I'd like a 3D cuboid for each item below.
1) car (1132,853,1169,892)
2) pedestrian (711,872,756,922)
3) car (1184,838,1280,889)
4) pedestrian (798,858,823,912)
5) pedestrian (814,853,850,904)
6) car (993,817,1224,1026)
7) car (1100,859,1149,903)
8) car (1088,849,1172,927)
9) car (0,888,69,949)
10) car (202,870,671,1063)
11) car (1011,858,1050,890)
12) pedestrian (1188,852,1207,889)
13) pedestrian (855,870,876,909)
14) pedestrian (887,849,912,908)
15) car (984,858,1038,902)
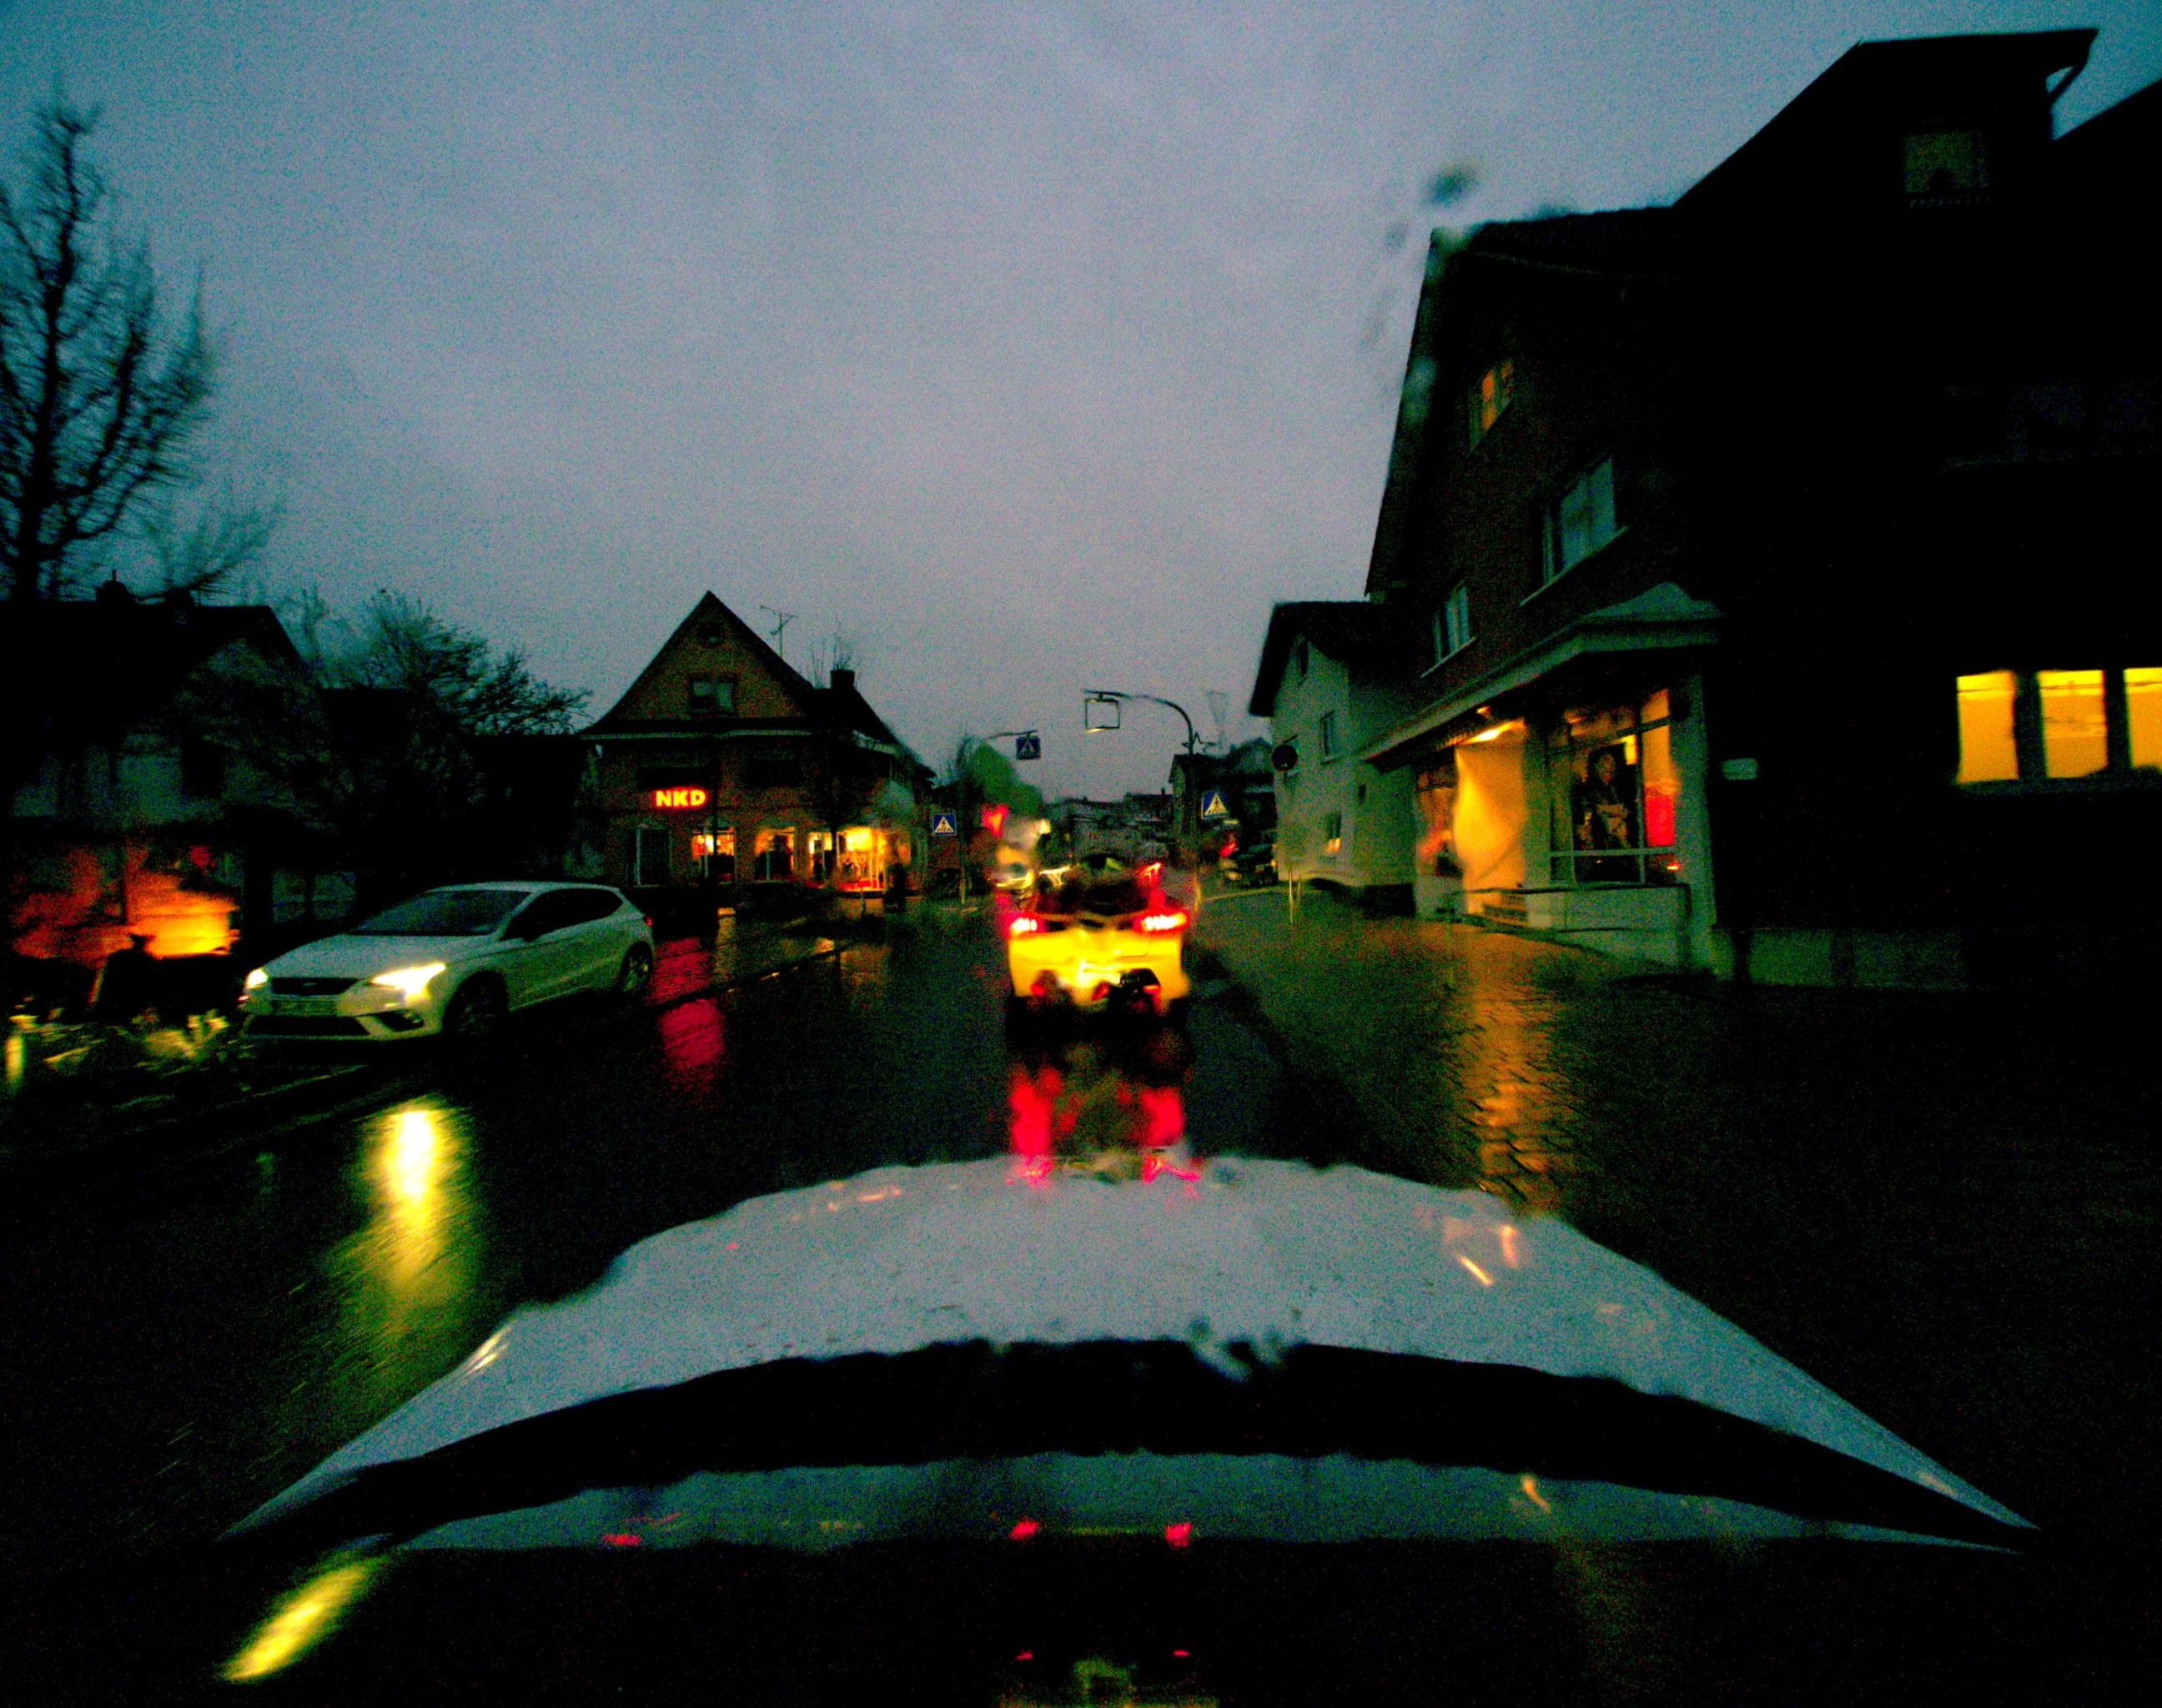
[{"bbox_3d":[3.938,1.021,46.476,1.637,2.013,3.999,-3,0,-1],"label":"car"},{"bbox_3d":[-10.615,1.307,24.898,0.886,1.418,0.777,5,-1,6],"label":"pedestrian"},{"bbox_3d":[6.071,0.390,33.122,3.679,2.014,1.691,-1,-1,5],"label":"car"},{"bbox_3d":[-8.924,1.008,26.873,0.586,1.742,0.683,-1,-1,-4],"label":"pedestrian"},{"bbox_3d":[-8.793,0.849,28.756,0.970,1.742,0.961,0,0,0],"label":"pedestrian"},{"bbox_3d":[0.427,0.592,9.516,1.984,1.795,4.654,-2,0,5],"label":"car"},{"bbox_3d":[1.786,1.026,32.731,1.819,1.601,4.586,-1,-1,4],"label":"car"},{"bbox_3d":[1.166,0.756,19.517,1.790,1.662,4.003,-1,-1,3],"label":"car"},{"bbox_3d":[-29.429,1.715,21.063,3.894,1.519,1.608,-1,-1,-12],"label":"car"},{"bbox_3d":[-6.256,0.949,8.629,1.663,1.516,4.001,0,-1,2],"label":"car"},{"bbox_3d":[-2.946,1.126,48.047,1.987,1.752,4.360,-1,-1,0],"label":"car"},{"bbox_3d":[6.552,0.939,45.794,1.011,2.014,1.277,-1,-1,7],"label":"pedestrian"},{"bbox_3d":[-7.097,1.168,26.867,0.551,1.233,0.433,-1,-1,-2],"label":"pedestrian"},{"bbox_3d":[-5.890,0.793,26.478,0.701,1.876,0.616,0,0,-4],"label":"pedestrian"},{"bbox_3d":[-3.454,1.255,41.002,1.985,2.014,4.365,-1,-1,4],"label":"car"}]
